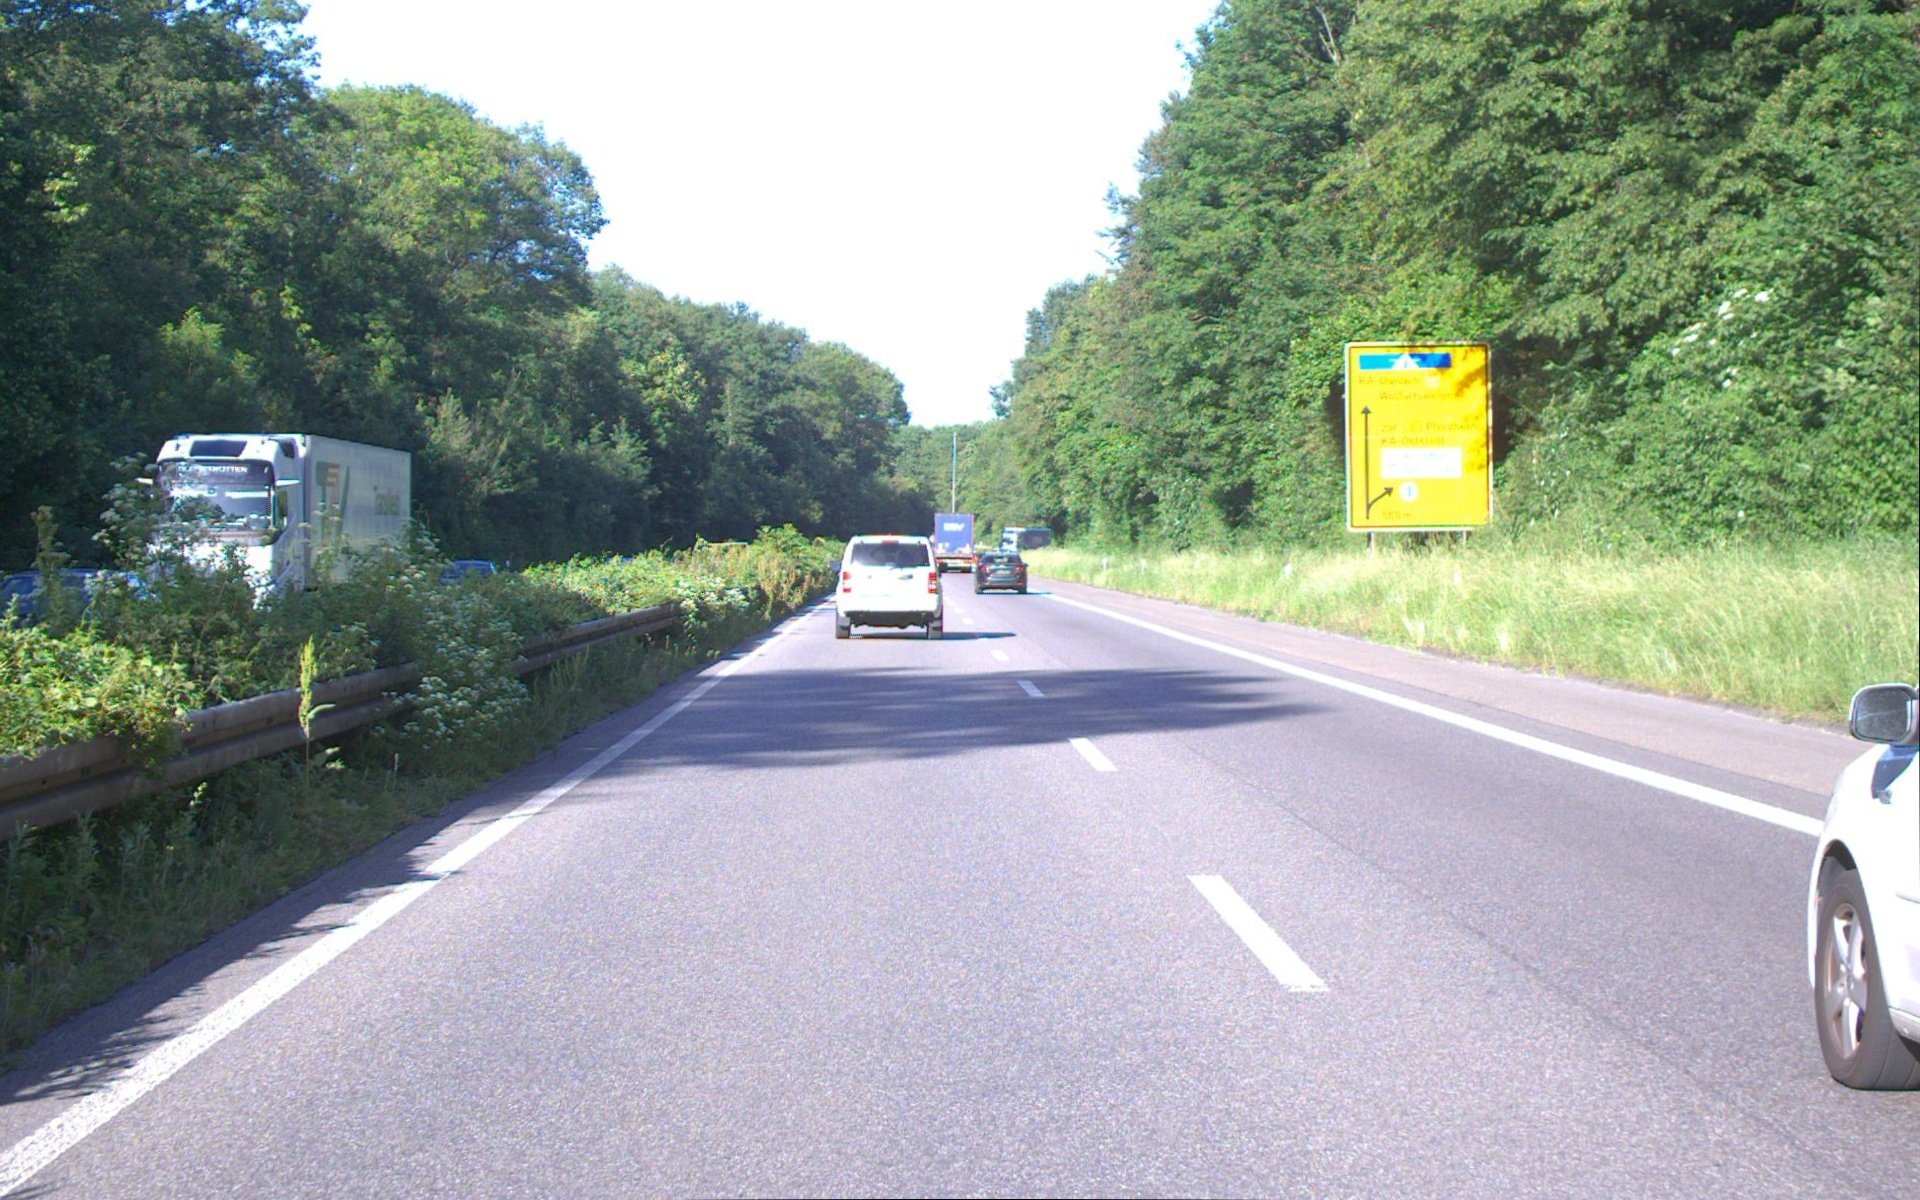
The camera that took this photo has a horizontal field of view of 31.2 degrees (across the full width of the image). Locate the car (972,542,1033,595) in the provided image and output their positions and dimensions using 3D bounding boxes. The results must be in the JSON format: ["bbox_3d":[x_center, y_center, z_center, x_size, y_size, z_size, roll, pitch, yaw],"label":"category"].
[{"bbox_3d":[1.483,-1.108,121.313,1.951,1.776,4.588,1,0,-1],"label":"car"}]

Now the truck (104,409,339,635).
[{"bbox_3d":[-13.753,-1.447,64.472,3.228,3.999,5.677,1,1,-1],"label":"truck"}]

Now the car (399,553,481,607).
[{"bbox_3d":[-14.572,-0.567,96.562,1.763,1.468,3.792,1,0,-1],"label":"car"}]

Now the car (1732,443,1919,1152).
[{"bbox_3d":[3.361,0.518,8.388,1.799,1.807,4.588,1,0,-1],"label":"car"}]

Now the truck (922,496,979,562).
[{"bbox_3d":[-0.693,-4.778,233.077,3.734,4.328,9.305,1,0,-1],"label":"truck"}]

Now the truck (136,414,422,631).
[{"bbox_3d":[-13.868,-1.566,71.525,3.243,3.999,14.452,1,1,-1],"label":"truck"}]

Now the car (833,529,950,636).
[{"bbox_3d":[-1.207,-0.313,60.247,1.951,1.776,4.588,1,0,-1],"label":"car"}]
